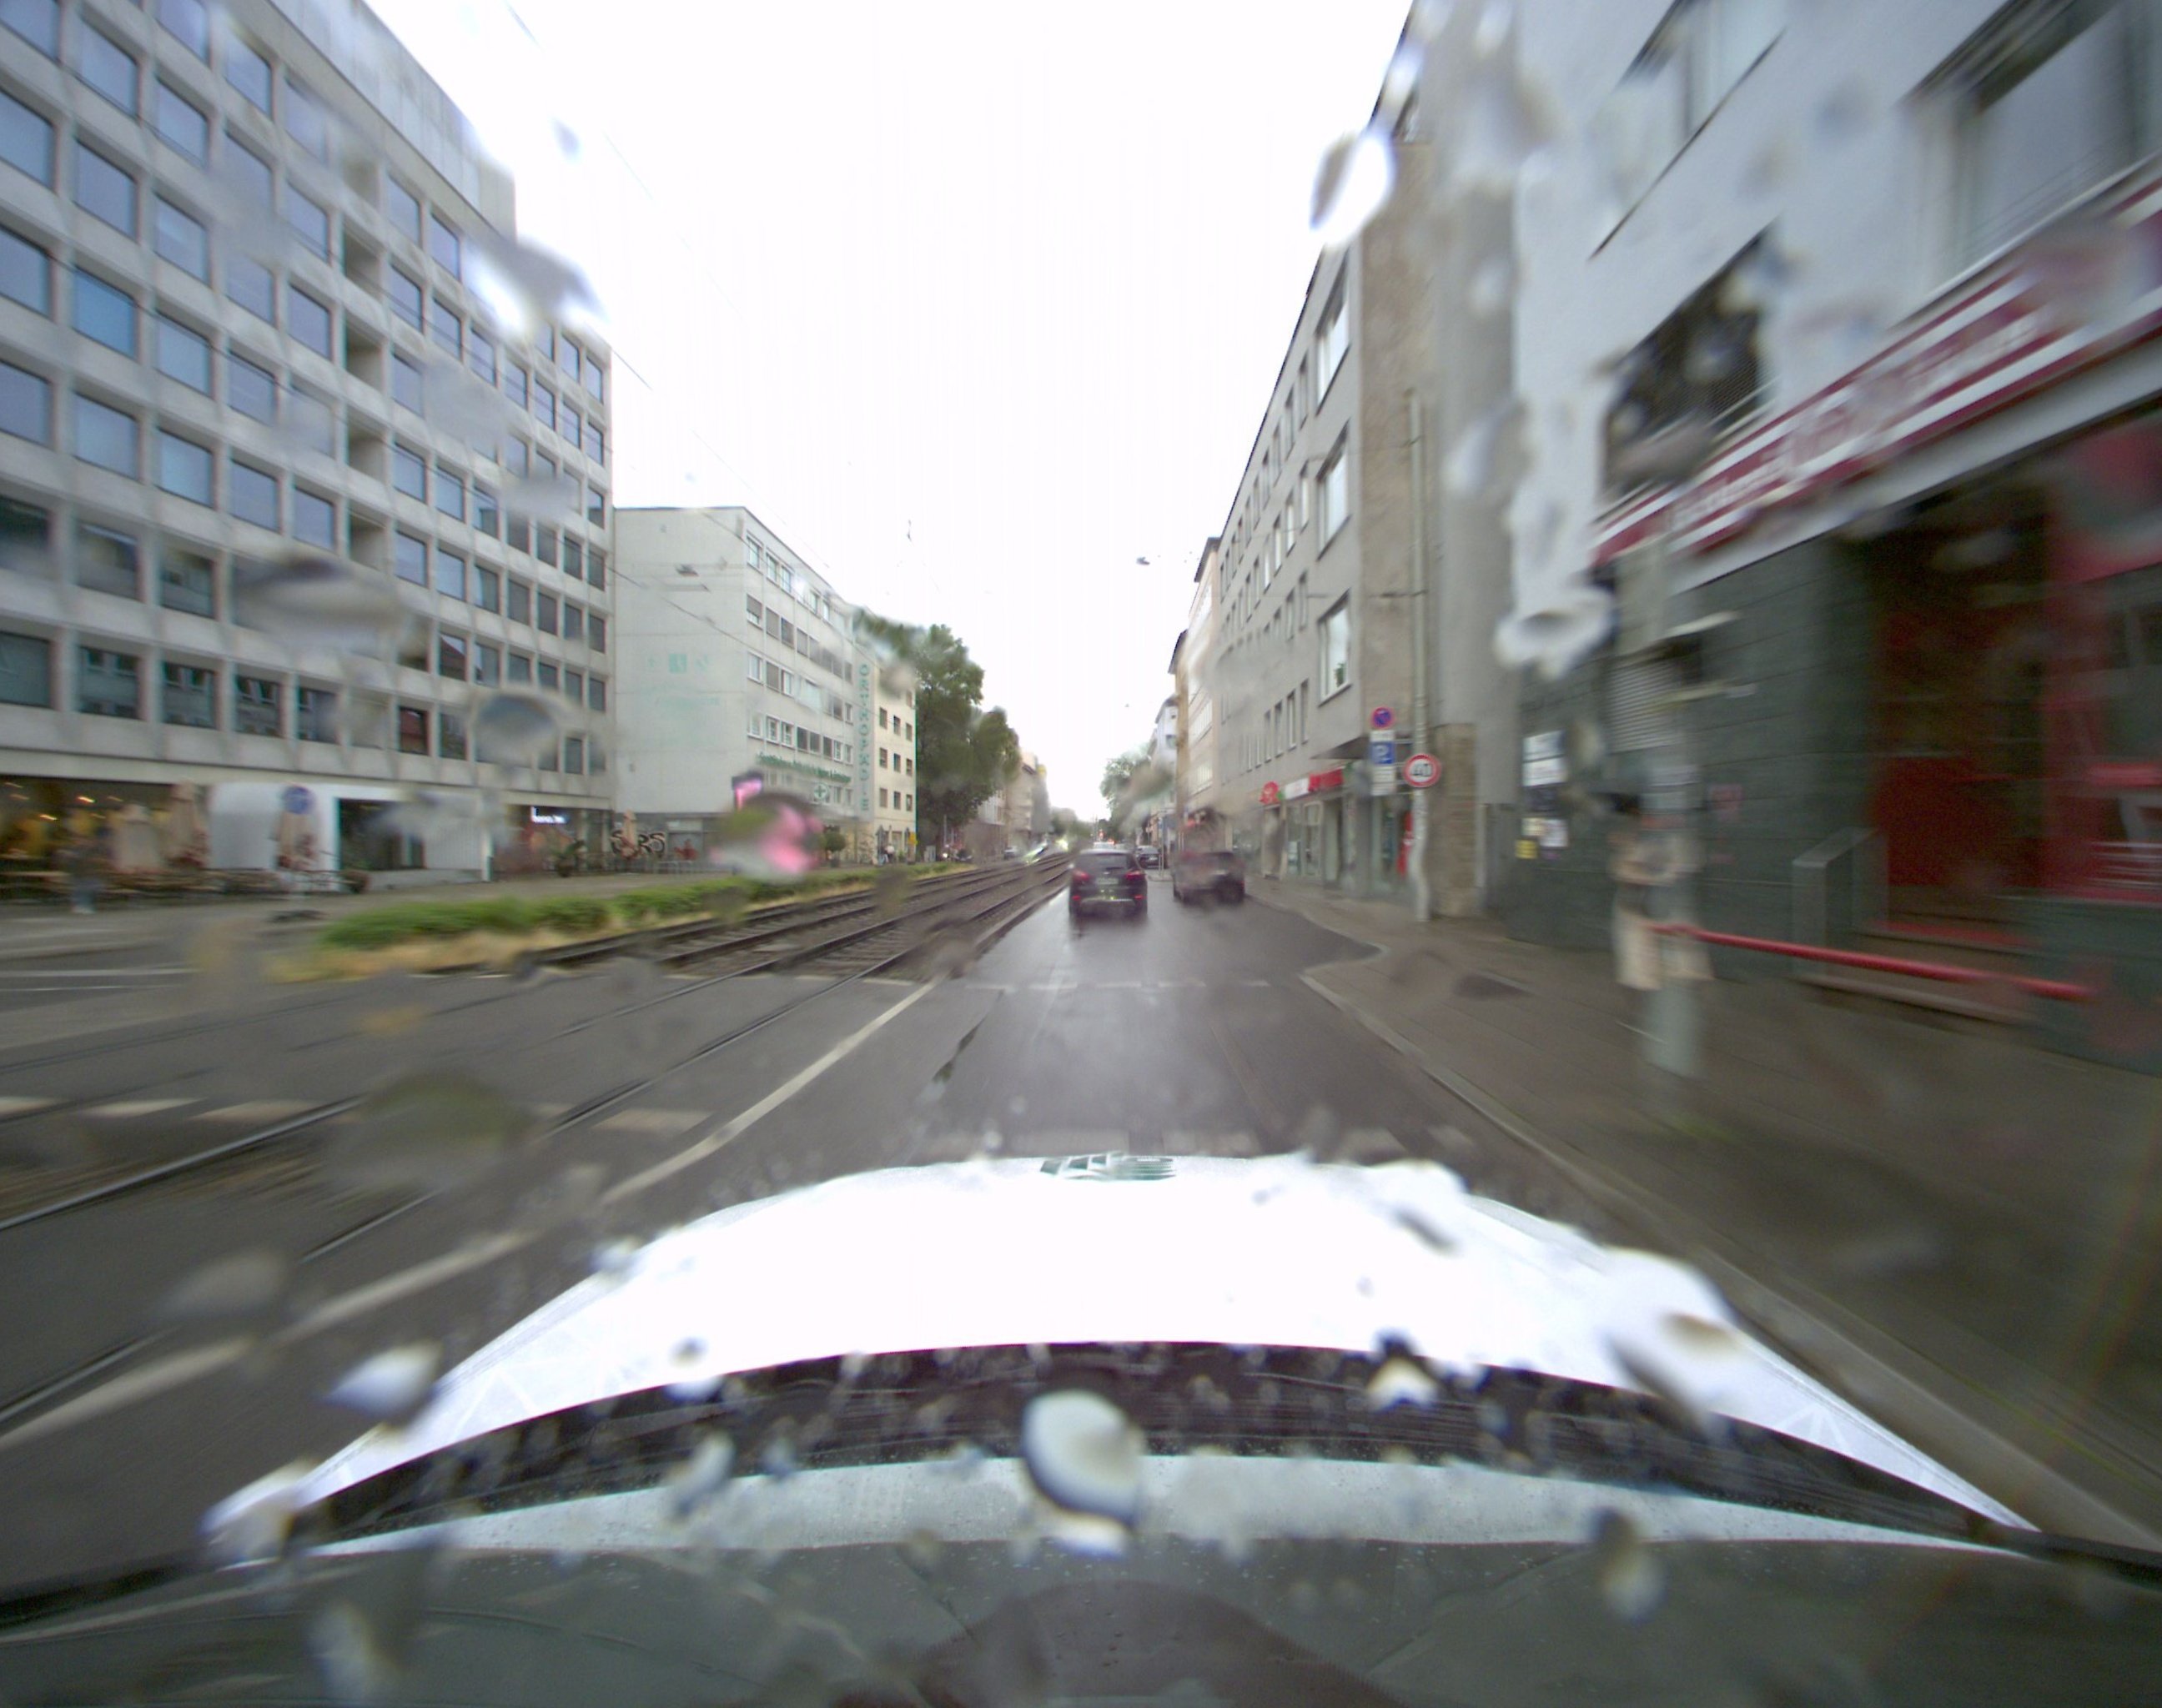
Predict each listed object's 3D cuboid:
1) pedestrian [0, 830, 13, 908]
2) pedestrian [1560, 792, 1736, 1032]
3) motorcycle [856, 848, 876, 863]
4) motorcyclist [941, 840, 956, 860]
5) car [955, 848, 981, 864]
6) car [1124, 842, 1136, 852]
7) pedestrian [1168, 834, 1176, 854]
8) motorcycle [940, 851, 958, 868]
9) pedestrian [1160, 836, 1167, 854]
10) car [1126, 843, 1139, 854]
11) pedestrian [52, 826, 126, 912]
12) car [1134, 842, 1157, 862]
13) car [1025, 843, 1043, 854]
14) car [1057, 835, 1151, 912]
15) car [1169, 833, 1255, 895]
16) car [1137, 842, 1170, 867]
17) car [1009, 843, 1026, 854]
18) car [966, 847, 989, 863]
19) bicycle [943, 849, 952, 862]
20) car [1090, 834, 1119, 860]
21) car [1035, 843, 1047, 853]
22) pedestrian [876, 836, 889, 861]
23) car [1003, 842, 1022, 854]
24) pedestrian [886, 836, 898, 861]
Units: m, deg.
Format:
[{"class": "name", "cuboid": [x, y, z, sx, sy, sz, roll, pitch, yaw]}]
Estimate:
[{"class": "pedestrian", "cuboid": [-24.625, 0.345, 18.142, 0.563, 1.748, 0.844, 0, 0, -2]}, {"class": "pedestrian", "cuboid": [4.035, 0.378, 5.833, 0.661, 1.582, 0.774, -1, 0, -20]}, {"class": "motorcycle", "cuboid": [-16.629, 0.133, 62.929, 1.472, 1.180, 0.386, 0, 0, 0]}, {"class": "motorcyclist", "cuboid": [-8.467, -0.257, 52.090, 0.738, 1.217, 0.971, 0, 0, 4]}, {"class": "car", "cuboid": [-10.765, 0.152, 77.815, 1.737, 1.468, 4.222, -2, 0, 2]}, {"class": "car", "cuboid": [7.329, -1.076, 122.682, 1.636, 1.515, 4.040, 0, 1, 1]}, {"class": "pedestrian", "cuboid": [9.358, -1.034, 83.701, 0.733, 2.013, 0.821, 0, 1, 1]}, {"class": "motorcycle", "cuboid": [-8.463, 0.359, 52.177, 0.739, 1.059, 1.933, 0, 0, 4]}, {"class": "pedestrian", "cuboid": [8.464, -0.928, 83.686, 0.659, 1.852, 0.821, 0, 1, 1]}, {"class": "car", "cuboid": [7.520, -0.842, 118.264, 1.732, 1.489, 4.002, 0, 1, 1]}, {"class": "pedestrian", "cuboid": [-21.562, 0.307, 17.711, 0.563, 1.822, 0.844, 0, 0, -2]}, {"class": "car", "cuboid": [5.247, -0.163, 66.648, 1.739, 1.523, 4.357, 0, 1, 2]}, {"class": "car", "cuboid": [-6.233, -0.746, 108.447, 1.986, 1.519, 4.446, 0, 0, 2]}, {"class": "car", "cuboid": [0.593, 0.424, 19.491, 1.985, 1.594, 4.274, -1, 0, 3]}, {"class": "car", "cuboid": [3.691, 0.272, 23.649, 1.985, 1.594, 4.274, -1, 0, 3]}, {"class": "car", "cuboid": [4.839, 0.035, 54.875, 1.985, 1.594, 4.575, -1, 0, 3]}, {"class": "car", "cuboid": [-8.994, -0.777, 115.669, 1.986, 1.519, 4.211, 0, 0, 2]}, {"class": "car", "cuboid": [-10.499, 0.118, 82.758, 1.715, 1.570, 4.222, 0, 0, 2]}, {"class": "bicycle", "cuboid": [-12.305, 0.156, 75.018, 0.590, 1.226, 2.399, 0, 0, -5]}, {"class": "car", "cuboid": [1.779, -0.473, 60.173, 1.985, 1.816, 4.274, -1, 0, 3]}, {"class": "car", "cuboid": [-7.366, -1.133, 150.414, 1.986, 1.839, 5.072, 0, 1, 1]}, {"class": "pedestrian", "cuboid": [-14.818, -0.400, 60.767, 0.724, 1.896, 0.983, 0, 0, 2]}, {"class": "car", "cuboid": [-9.347, -0.816, 111.080, 1.986, 1.519, 4.437, 0, 0, 2]}, {"class": "pedestrian", "cuboid": [-14.057, -0.415, 60.560, 0.676, 1.896, 0.743, 0, 0, 2]}]
